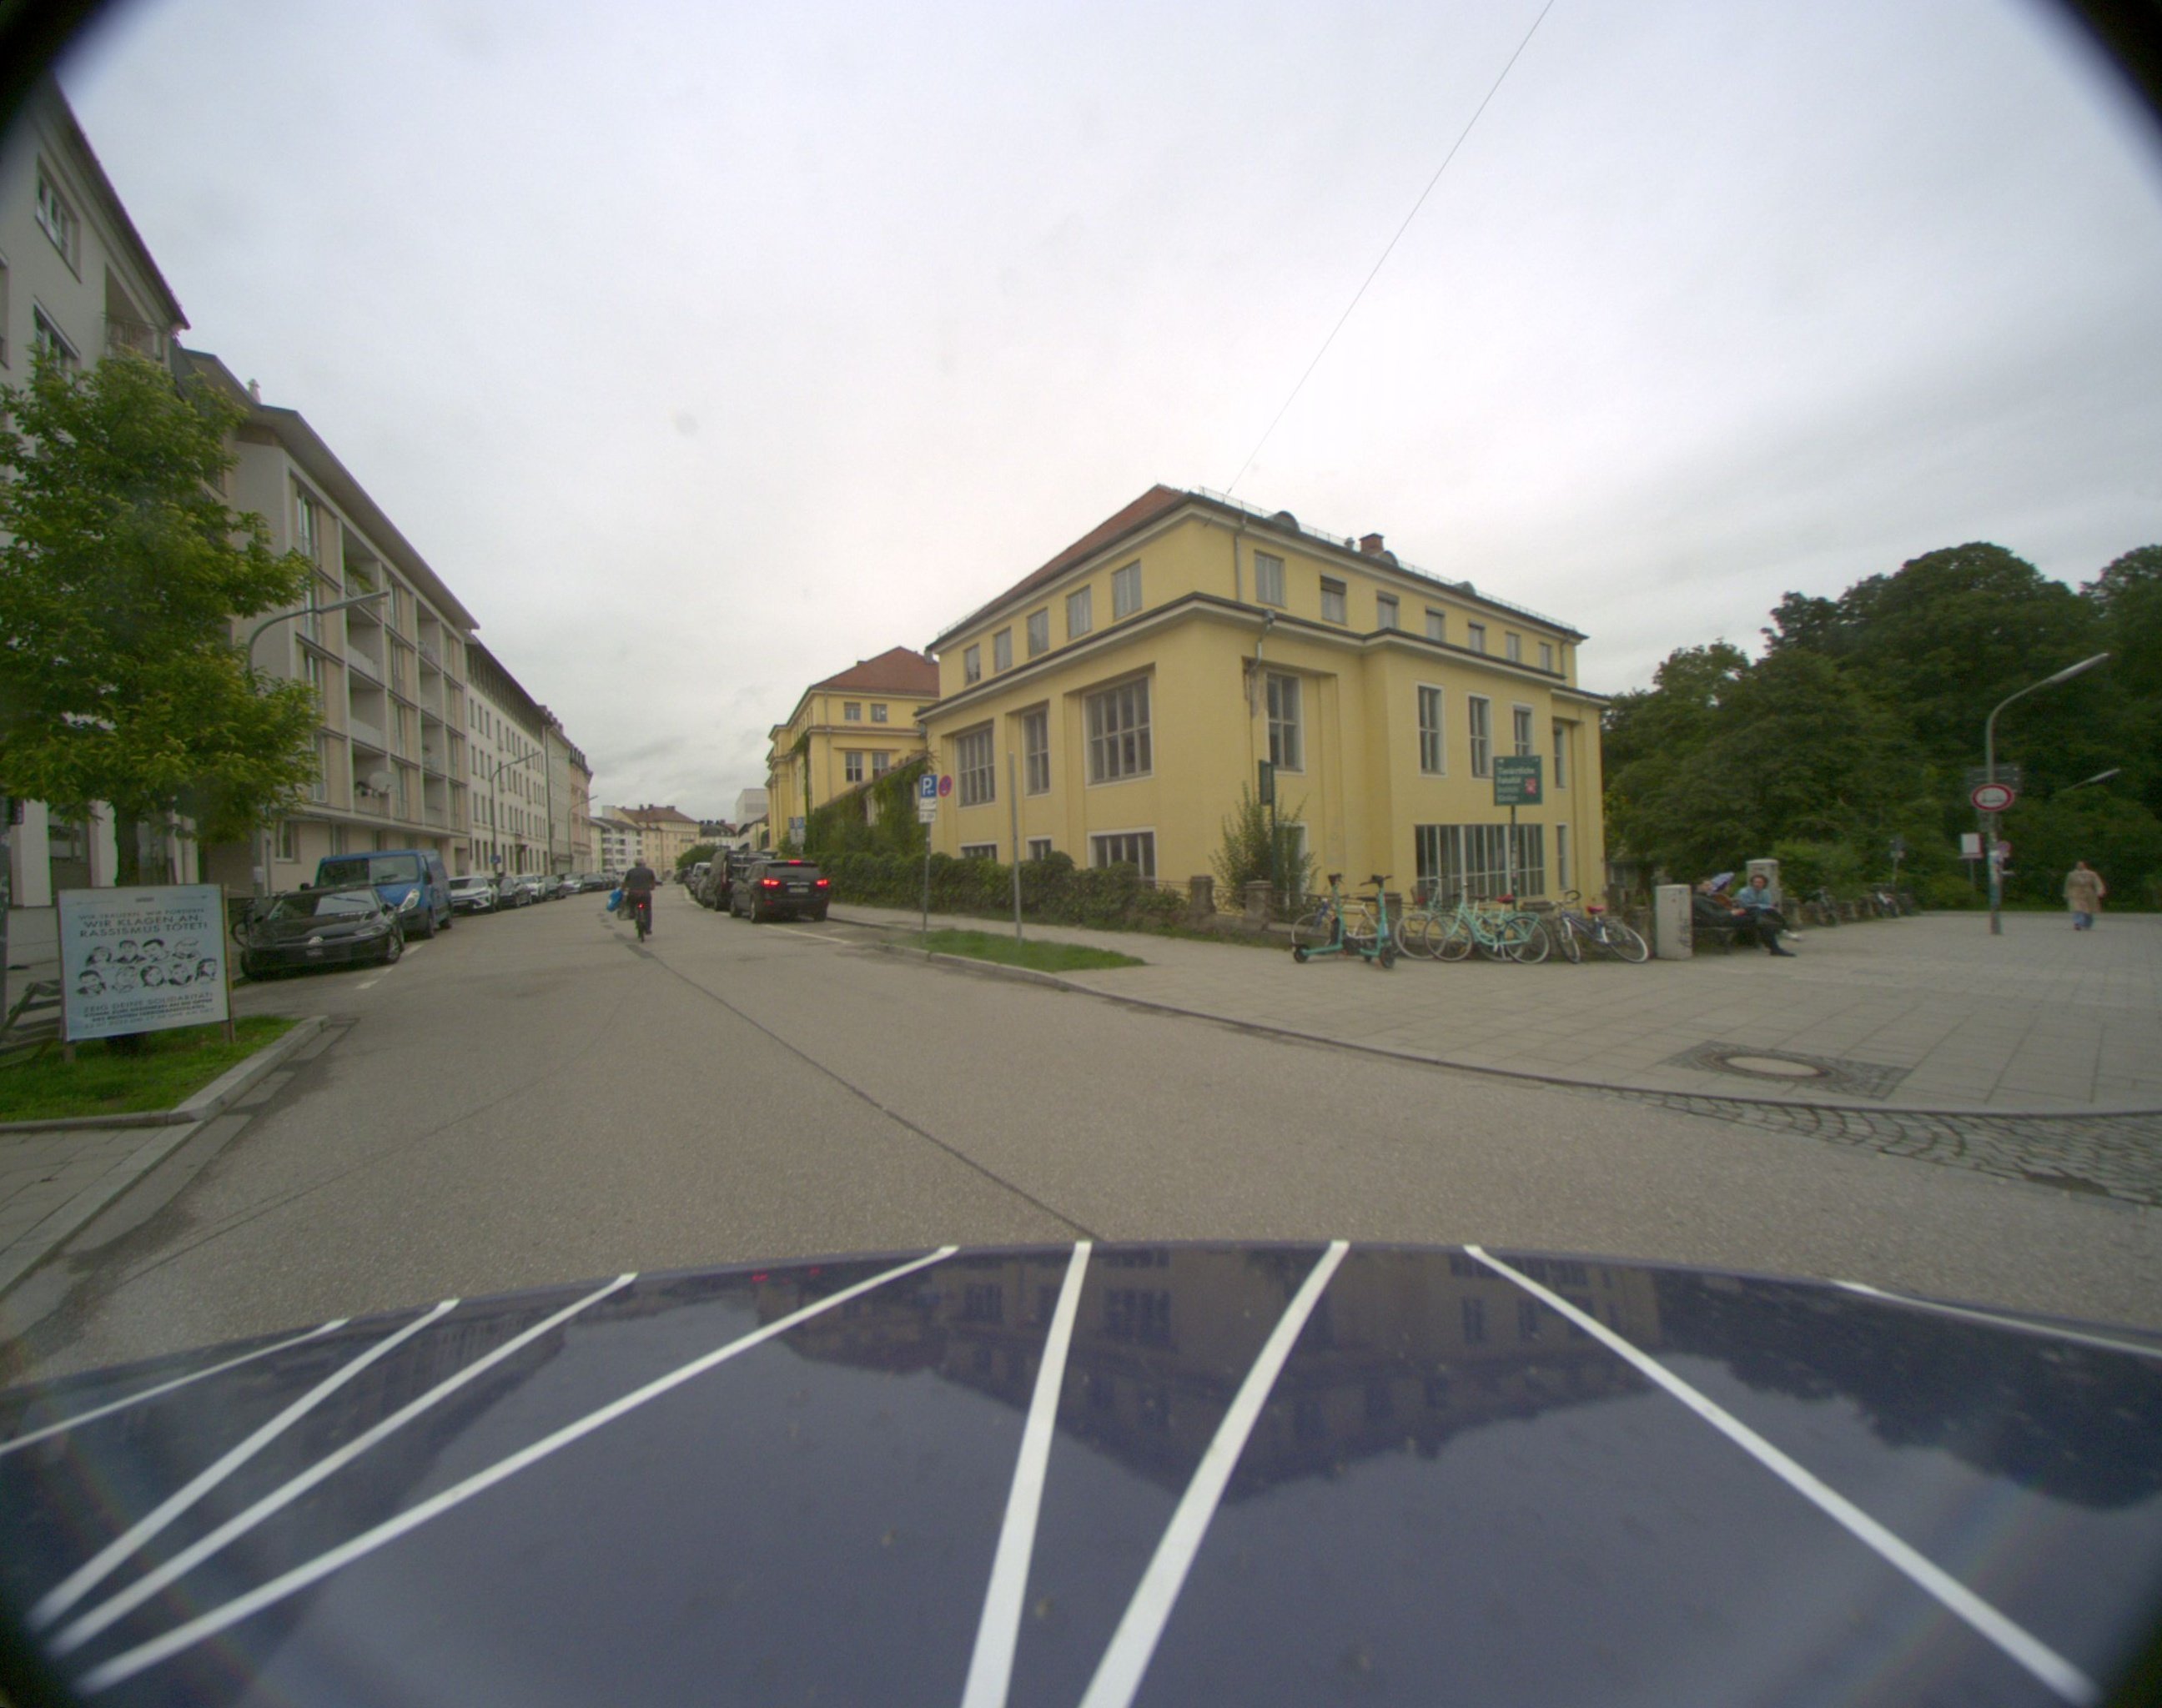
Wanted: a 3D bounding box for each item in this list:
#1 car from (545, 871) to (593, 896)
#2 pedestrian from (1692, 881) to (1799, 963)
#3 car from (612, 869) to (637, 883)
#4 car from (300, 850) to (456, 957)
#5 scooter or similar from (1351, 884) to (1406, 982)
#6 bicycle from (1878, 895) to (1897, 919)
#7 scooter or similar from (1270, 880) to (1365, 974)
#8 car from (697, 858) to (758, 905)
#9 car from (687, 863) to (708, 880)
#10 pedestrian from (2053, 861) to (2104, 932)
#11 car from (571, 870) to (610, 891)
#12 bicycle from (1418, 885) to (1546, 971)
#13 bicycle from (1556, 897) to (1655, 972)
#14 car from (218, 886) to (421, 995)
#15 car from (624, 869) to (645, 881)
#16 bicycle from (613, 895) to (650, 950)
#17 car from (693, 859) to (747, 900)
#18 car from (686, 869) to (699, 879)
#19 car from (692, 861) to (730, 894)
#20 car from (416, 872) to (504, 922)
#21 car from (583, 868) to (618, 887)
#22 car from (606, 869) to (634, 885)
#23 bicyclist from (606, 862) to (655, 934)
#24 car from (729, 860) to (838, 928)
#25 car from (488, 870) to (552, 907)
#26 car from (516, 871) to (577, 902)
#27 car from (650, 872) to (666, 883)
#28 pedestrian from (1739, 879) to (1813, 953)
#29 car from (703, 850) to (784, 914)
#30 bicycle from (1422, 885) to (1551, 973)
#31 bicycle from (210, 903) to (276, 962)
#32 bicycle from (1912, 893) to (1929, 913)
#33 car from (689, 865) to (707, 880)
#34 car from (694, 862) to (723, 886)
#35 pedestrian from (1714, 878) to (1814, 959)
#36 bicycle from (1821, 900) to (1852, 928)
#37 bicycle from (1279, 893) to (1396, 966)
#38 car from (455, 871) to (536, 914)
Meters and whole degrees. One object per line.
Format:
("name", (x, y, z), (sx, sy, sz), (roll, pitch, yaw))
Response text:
("car", (-35.568, 1.992, 52.914), (1.895, 1.447, 4.731), (-6, 2, -25))
("pedestrian", (10.619, 1.072, 12.155), (1.213, 1.239, 0.641), (-3, -4, 44))
("car", (-52.969, 2.503, 88.200), (1.895, 1.447, 4.731), (-6, 2, -25))
("car", (-17.241, 1.073, 18.923), (1.987, 2.158, 4.701), (-6, 4, -34))
("scooter or similar", (3.947, 1.016, 10.147), (0.323, 1.205, 1.118), (0, 0, 2))
("bicycle", (24.289, 1.589, 22.880), (0.911, 0.672, 0.215), (1, 0, -33))
("scooter or similar", (3.346, 1.005, 10.721), (1.392, 1.240, 0.396), (0, 0, -27))
("car", (-14.890, 1.104, 31.867), (1.980, 1.825, 4.671), (0, -1, -29))
("car", (-42.574, 1.944, 84.316), (1.980, 1.825, 4.672), (0, -1, -28))
("pedestrian", (24.573, 1.045, 18.710), (0.977, 1.675, 0.652), (2, -4, -35))
("car", (-39.405, 2.083, 61.124), (1.895, 1.447, 4.731), (-6, 2, -25))
("bicycle", (5.771, 1.060, 10.969), (1.652, 1.184, 0.203), (1, 0, 6))
("bicycle", (7.717, 1.166, 11.167), (1.656, 1.032, 0.307), (1, 0, -21))
("car", (-13.512, 1.422, 13.762), (1.783, 1.388, 3.795), (-6, 3, -34))
("car", (-59.940, 2.813, 102.096), (1.895, 1.447, 4.731), (-6, 2, -25))
("bicycle", (-9.332, 1.392, 15.818), (0.624, 1.011, 1.714), (0, -1, -30))
("car", (-17.336, 1.191, 36.374), (1.980, 1.825, 4.671), (0, -1, -29))
("car", (-67.555, 3.509, 132.199), (1.773, 1.521, 3.992), (-3, 1, -24))
("car", (-22.083, 1.364, 45.332), (1.979, 1.825, 4.672), (0, -1, -26))
("car", (-23.540, 1.565, 28.990), (1.987, 1.553, 4.703), (-6, 2, -33))
("car", (-42.024, 2.040, 66.590), (1.895, 1.447, 4.731), (-6, 2, -25))
("car", (-49.647, 2.466, 81.898), (1.895, 1.447, 4.731), (-6, 2, -25))
("bicyclist", (-9.341, 0.895, 15.782), (0.844, 1.449, 0.742), (0, 0, -30))
("car", (-8.635, 1.063, 21.799), (1.940, 1.698, 4.614), (0, -1, -34))
("car", (-28.026, 1.684, 38.095), (1.920, 1.553, 4.081), (-6, 2, -29))
("car", (-29.945, 1.777, 42.678), (1.895, 1.447, 4.593), (-6, 2, -25))
("car", (-56.982, 3.096, 102.408), (1.797, 1.334, 3.827), (-3, 1, -28))
("pedestrian", (11.938, 1.058, 13.059), (0.885, 1.227, 0.552), (-3, -4, 44))
("car", (-12.087, 0.948, 27.016), (1.980, 2.059, 4.671), (0, -1, -32))
("bicycle", (5.737, 1.052, 10.773), (1.652, 1.191, 0.169), (1, 0, 6))
("bicycle", (-17.512, 1.606, 15.922), (0.488, 1.046, 2.177), (-1, -1, -36))
("bicycle", (28.067, 1.635, 25.399), (0.911, 0.653, 0.241), (1, 0, -35))
("car", (-49.321, 2.360, 97.819), (1.980, 1.825, 4.672), (0, -1, -28))
("car", (-29.093, 1.553, 59.267), (1.979, 1.825, 4.672), (0, -1, -27))
("pedestrian", (11.397, 1.056, 12.692), (1.175, 1.285, 0.641), (-3, -4, 44))
("bicycle", (18.630, 1.476, 18.723), (0.910, 0.672, 0.215), (1, 0, -24))
("bicycle", (3.868, 1.127, 11.548), (1.649, 0.987, 0.249), (1, 0, 31))
("car", (-25.719, 1.643, 33.562), (1.963, 1.553, 4.601), (-6, 2, -28))
